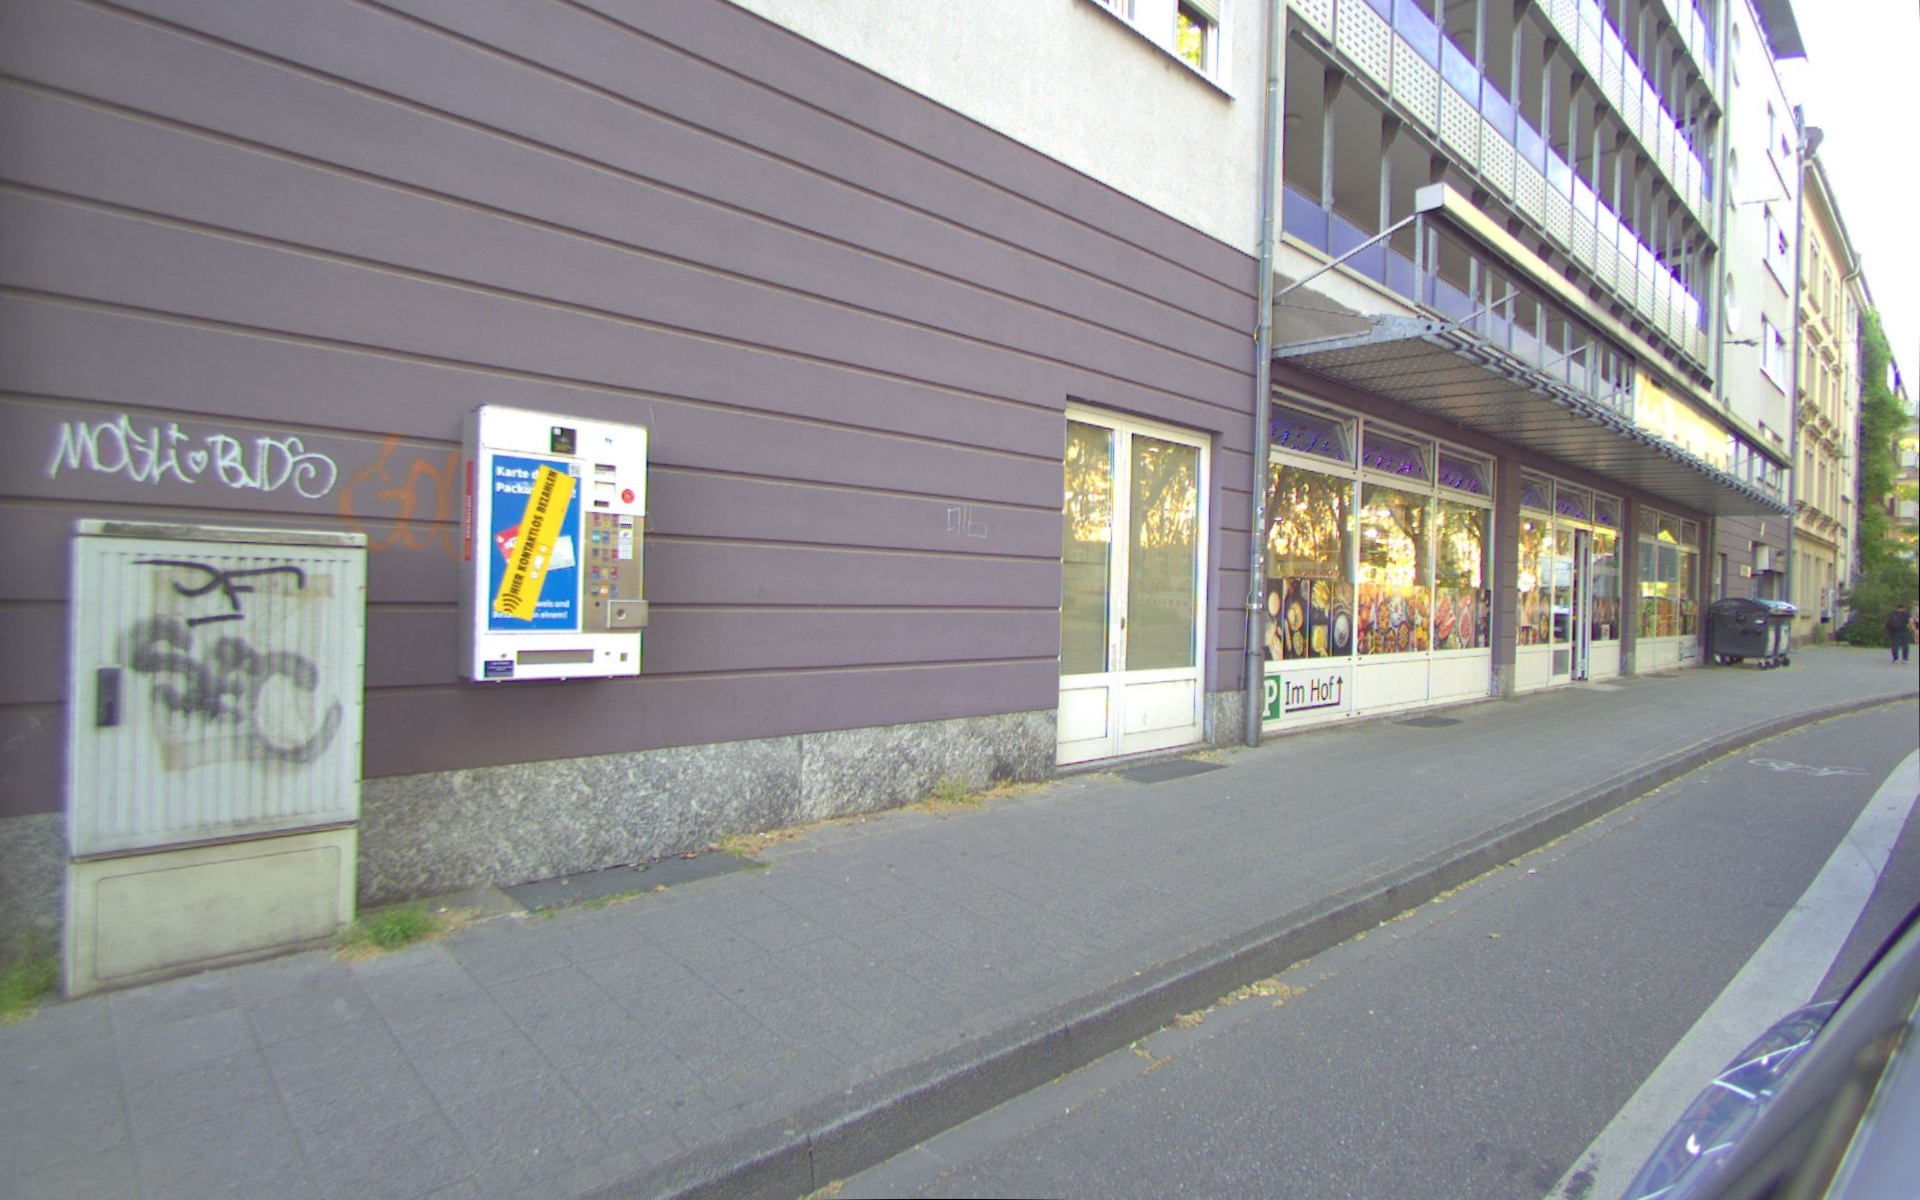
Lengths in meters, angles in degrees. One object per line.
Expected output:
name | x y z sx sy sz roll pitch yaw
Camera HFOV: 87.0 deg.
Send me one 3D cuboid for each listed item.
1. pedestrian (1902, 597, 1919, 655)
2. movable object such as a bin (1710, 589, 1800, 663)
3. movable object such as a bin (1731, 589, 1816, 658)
pedestrian | 24.396 0.662 25.745 0.619 1.463 0.540 1 1 -41
movable object such as a bin | 16.432 0.511 20.916 1.348 1.427 1.203 1 1 -41
movable object such as a bin | 17.882 0.491 22.244 1.348 1.427 1.203 1 1 -41
